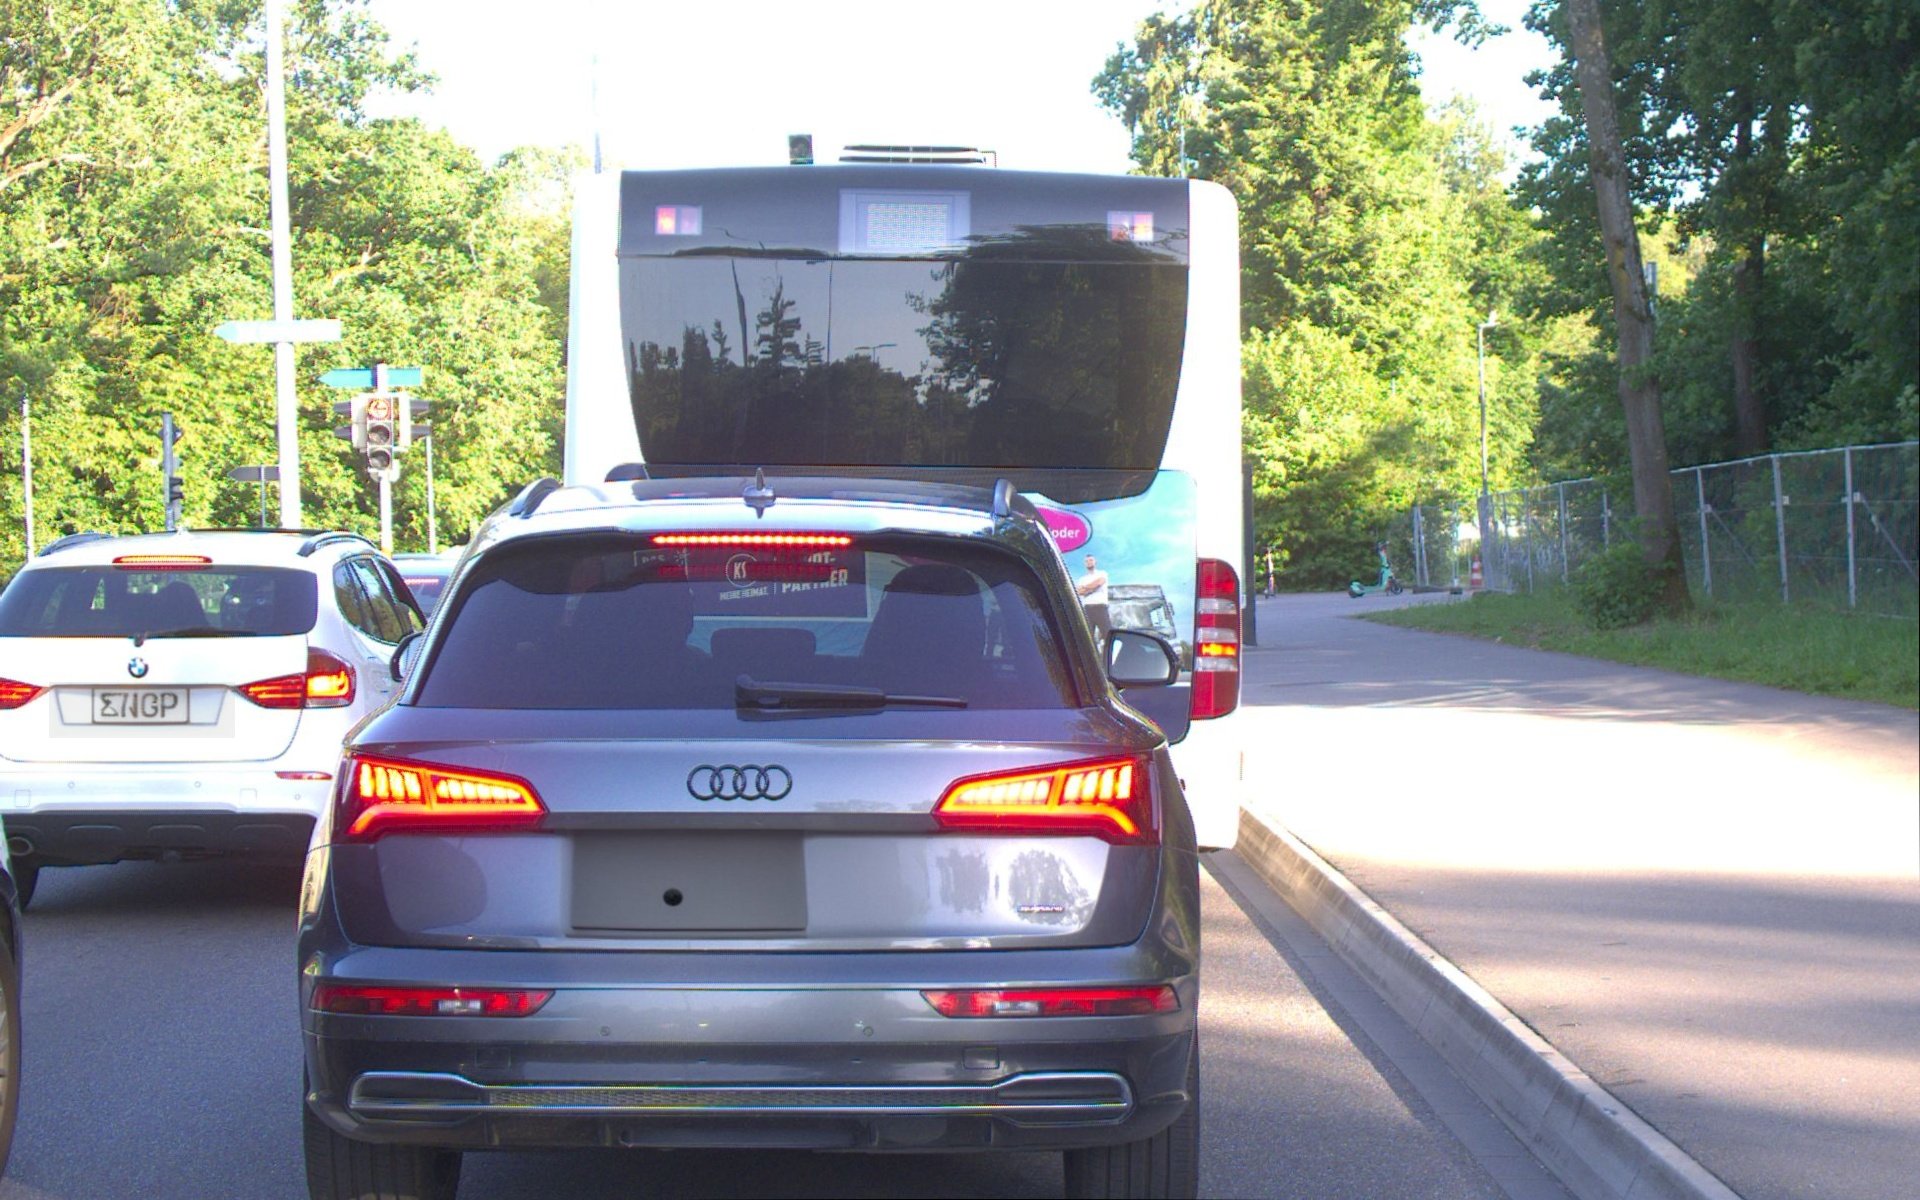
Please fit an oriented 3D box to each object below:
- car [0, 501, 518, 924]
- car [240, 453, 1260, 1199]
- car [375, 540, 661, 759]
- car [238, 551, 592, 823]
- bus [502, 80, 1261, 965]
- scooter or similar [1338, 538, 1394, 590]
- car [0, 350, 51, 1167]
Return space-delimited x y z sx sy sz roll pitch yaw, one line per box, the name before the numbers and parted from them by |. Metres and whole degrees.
car | -3.083 0.445 15.178 1.718 1.575 4.434 1 -1 -1
car | -0.413 0.515 8.359 1.868 1.658 4.000 1 2 -1
car | -3.468 0.333 27.597 1.808 1.567 4.000 1 2 -1
car | -3.267 0.457 21.303 1.785 1.439 4.279 1 2 -4
bus | -0.253 -0.355 15.250 2.678 3.131 5.882 1 2 1
scooter or similar | 9.190 -0.818 77.832 1.184 1.170 0.659 1 1 11
car | -3.071 0.394 5.742 1.907 1.849 4.874 1 1 -1
